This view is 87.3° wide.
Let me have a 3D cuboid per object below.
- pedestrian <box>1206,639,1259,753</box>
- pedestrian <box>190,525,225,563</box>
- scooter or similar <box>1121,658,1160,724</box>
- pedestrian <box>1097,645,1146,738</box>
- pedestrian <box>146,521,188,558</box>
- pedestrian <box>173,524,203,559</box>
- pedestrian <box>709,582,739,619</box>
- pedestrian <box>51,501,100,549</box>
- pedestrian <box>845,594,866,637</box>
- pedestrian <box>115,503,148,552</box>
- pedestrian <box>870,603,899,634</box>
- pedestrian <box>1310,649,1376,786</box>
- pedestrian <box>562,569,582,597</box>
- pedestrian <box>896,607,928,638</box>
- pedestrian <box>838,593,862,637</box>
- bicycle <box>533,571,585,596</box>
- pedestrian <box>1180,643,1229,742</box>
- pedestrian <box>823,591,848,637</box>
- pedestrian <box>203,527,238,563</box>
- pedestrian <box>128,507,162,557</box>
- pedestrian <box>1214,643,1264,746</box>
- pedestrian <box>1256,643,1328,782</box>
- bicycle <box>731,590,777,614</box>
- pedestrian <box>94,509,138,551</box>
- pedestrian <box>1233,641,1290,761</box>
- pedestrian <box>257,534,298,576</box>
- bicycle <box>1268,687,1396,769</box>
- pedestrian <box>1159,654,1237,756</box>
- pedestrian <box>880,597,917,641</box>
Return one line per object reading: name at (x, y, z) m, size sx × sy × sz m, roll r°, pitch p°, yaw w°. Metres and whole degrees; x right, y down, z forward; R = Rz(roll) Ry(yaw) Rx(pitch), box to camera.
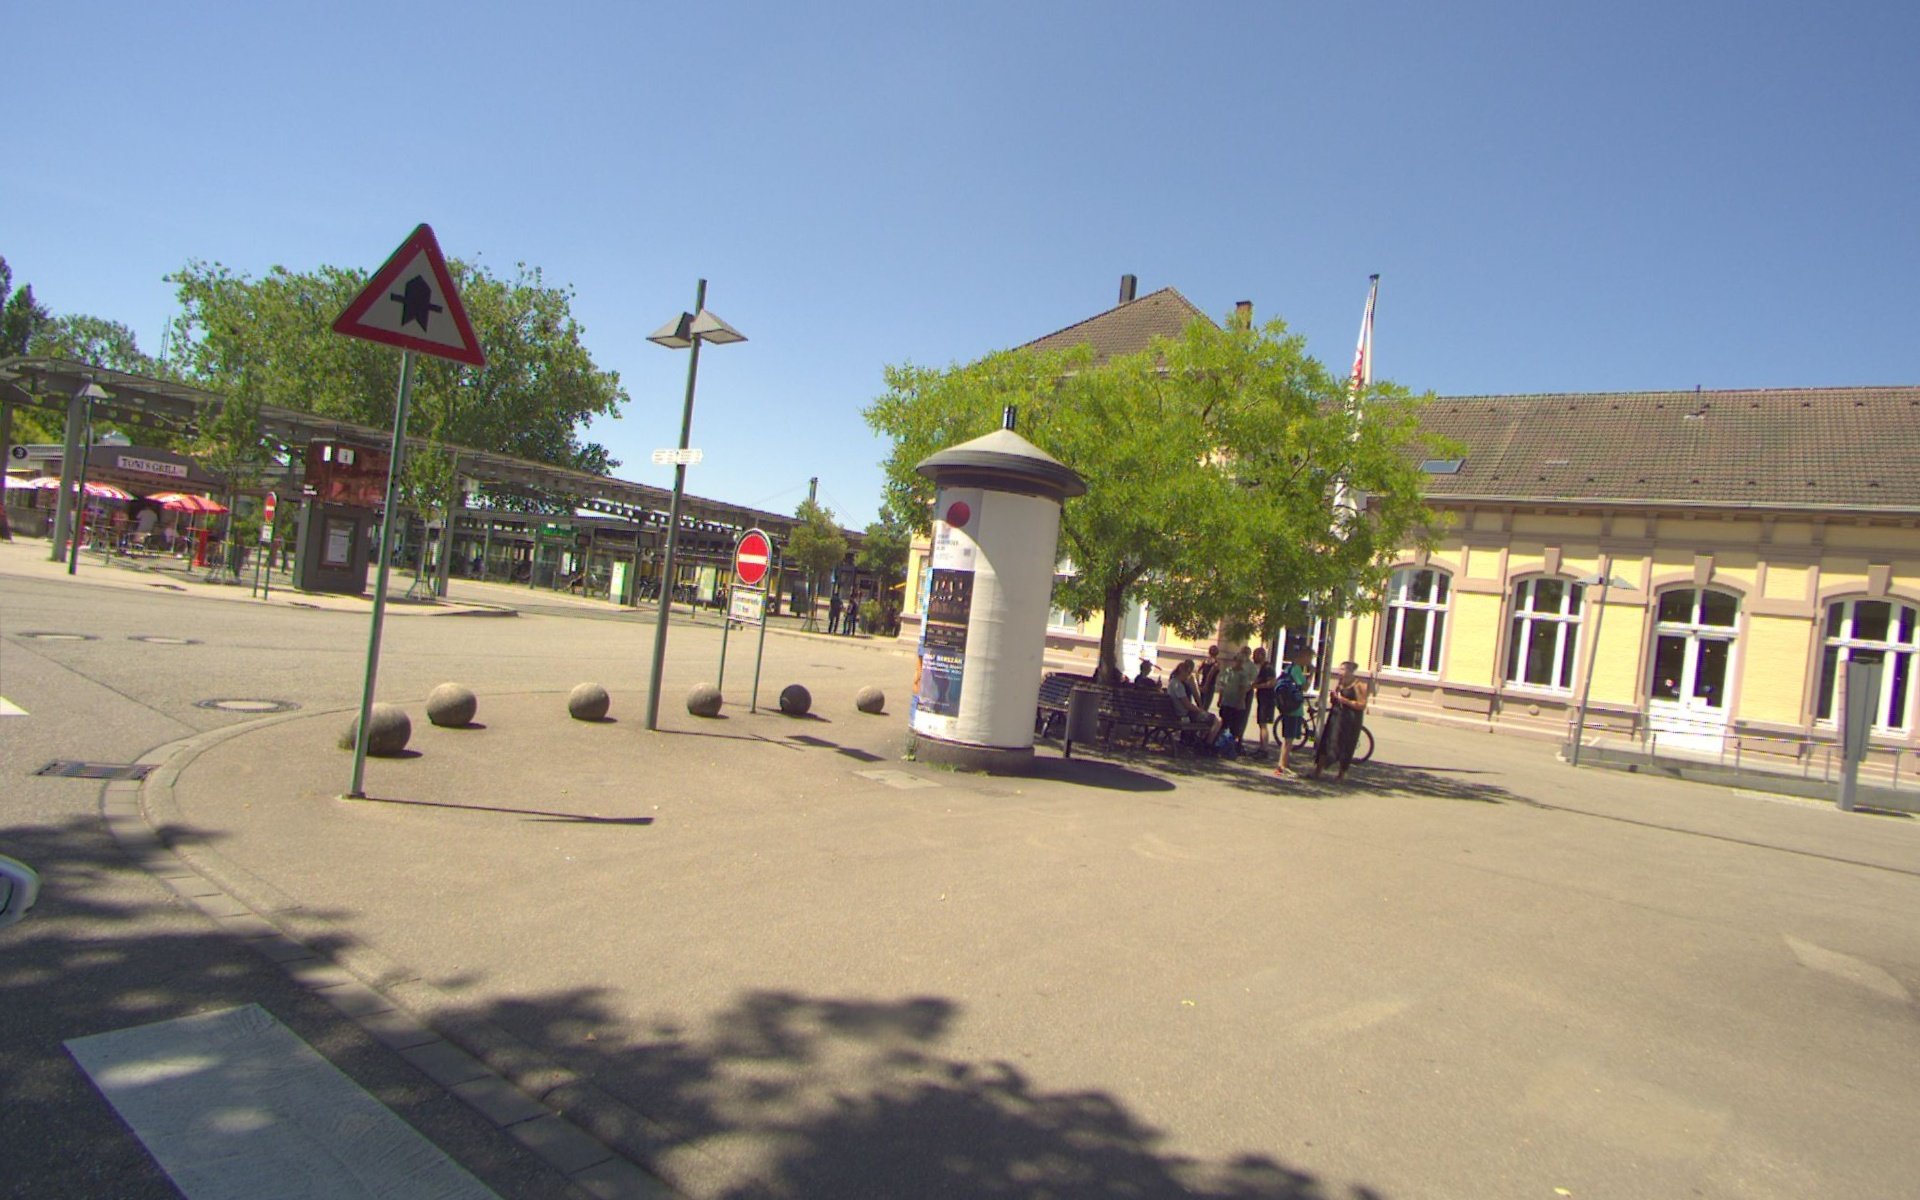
pedestrian at (4.424, 1.548, 16.342) m, size 0.560 × 1.761 × 0.512 m, roll 7°, pitch 0°, yaw 7°
pedestrian at (-25.706, -1.925, 34.379) m, size 0.882 × 1.175 × 0.685 m, roll 7°, pitch 0°, yaw 40°
scooter or similar at (3.319, 1.670, 18.452) m, size 0.289 × 1.153 × 1.027 m, roll 7°, pitch -1°, yaw 28°
pedestrian at (2.578, 1.450, 16.100) m, size 0.588 × 1.381 × 0.599 m, roll 7°, pitch 0°, yaw 8°
pedestrian at (-28.916, -2.195, 36.687) m, size 0.676 × 1.175 × 0.895 m, roll 7°, pitch 0°, yaw 1°
pedestrian at (-29.741, -2.258, 38.764) m, size 0.583 × 1.218 × 0.656 m, roll 6°, pitch -3°, yaw 35°
pedestrian at (-11.145, 0.041, 47.519) m, size 0.841 × 1.609 × 0.925 m, roll 7°, pitch 0°, yaw 26°
pedestrian at (-29.398, -2.475, 33.448) m, size 0.676 × 1.435 × 0.895 m, roll 7°, pitch 0°, yaw -1°
pedestrian at (-4.574, 0.672, 44.024) m, size 0.546 × 1.831 × 0.494 m, roll 7°, pitch 0°, yaw -34°
pedestrian at (-31.734, -2.790, 38.522) m, size 0.696 × 1.759 × 0.686 m, roll 7°, pitch 0°, yaw 36°
pedestrian at (-3.569, 0.889, 47.543) m, size 0.958 × 1.371 × 1.052 m, roll 4°, pitch 1°, yaw 15°
pedestrian at (5.193, 1.577, 13.681) m, size 0.537 × 1.761 × 0.628 m, roll 7°, pitch 0°, yaw 10°
pedestrian at (-20.617, -0.920, 53.395) m, size 0.666 × 1.412 × 0.625 m, roll 6°, pitch 1°, yaw 36°
pedestrian at (-2.299, 1.086, 48.233) m, size 1.037 × 1.371 × 0.972 m, roll 5°, pitch 1°, yaw 38°
pedestrian at (-4.719, 0.642, 43.237) m, size 0.625 × 1.831 × 0.591 m, roll 7°, pitch 0°, yaw -33°
bicycle at (-23.447, -0.954, 58.840) m, size 0.798 × 1.014 × 2.792 m, roll 6°, pitch -4°, yaw 34°
pedestrian at (4.416, 1.659, 18.160) m, size 0.577 × 1.705 × 0.555 m, roll 7°, pitch 0°, yaw 24°
pedestrian at (-5.297, 0.596, 42.823) m, size 0.683 × 1.831 × 0.626 m, roll 7°, pitch 0°, yaw -33°
pedestrian at (-27.783, -2.065, 37.797) m, size 0.726 × 1.218 × 0.760 m, roll 6°, pitch -3°, yaw 36°
pedestrian at (-30.550, -2.530, 37.698) m, size 0.696 × 1.758 × 0.686 m, roll 6°, pitch -1°, yaw 36°
pedestrian at (4.914, 1.648, 17.699) m, size 0.580 × 1.705 × 0.619 m, roll 7°, pitch 0°, yaw 24°
pedestrian at (4.520, 1.509, 13.739) m, size 0.574 × 1.785 × 0.694 m, roll 7°, pitch 0°, yaw 3°
bicycle at (-12.287, 0.153, 60.137) m, size 0.951 × 1.014 × 2.792 m, roll 6°, pitch -4°, yaw 34°
pedestrian at (-29.821, -2.467, 35.555) m, size 0.676 × 1.328 × 0.895 m, roll 7°, pitch 0°, yaw 1°
pedestrian at (4.674, 1.549, 15.607) m, size 0.588 × 1.761 × 0.585 m, roll 7°, pitch 0°, yaw 10°
pedestrian at (-23.360, -1.527, 34.438) m, size 0.882 × 1.293 × 0.844 m, roll 7°, pitch 0°, yaw 40°
bicycle at (6.320, 2.157, 17.154) m, size 1.917 × 1.073 × 0.420 m, roll 6°, pitch 0°, yaw 34°
pedestrian at (3.681, 1.607, 15.645) m, size 0.926 × 1.403 × 0.913 m, roll 7°, pitch 0°, yaw 6°
pedestrian at (-2.823, 0.887, 46.289) m, size 1.065 × 1.869 × 1.081 m, roll 7°, pitch 0°, yaw 34°
